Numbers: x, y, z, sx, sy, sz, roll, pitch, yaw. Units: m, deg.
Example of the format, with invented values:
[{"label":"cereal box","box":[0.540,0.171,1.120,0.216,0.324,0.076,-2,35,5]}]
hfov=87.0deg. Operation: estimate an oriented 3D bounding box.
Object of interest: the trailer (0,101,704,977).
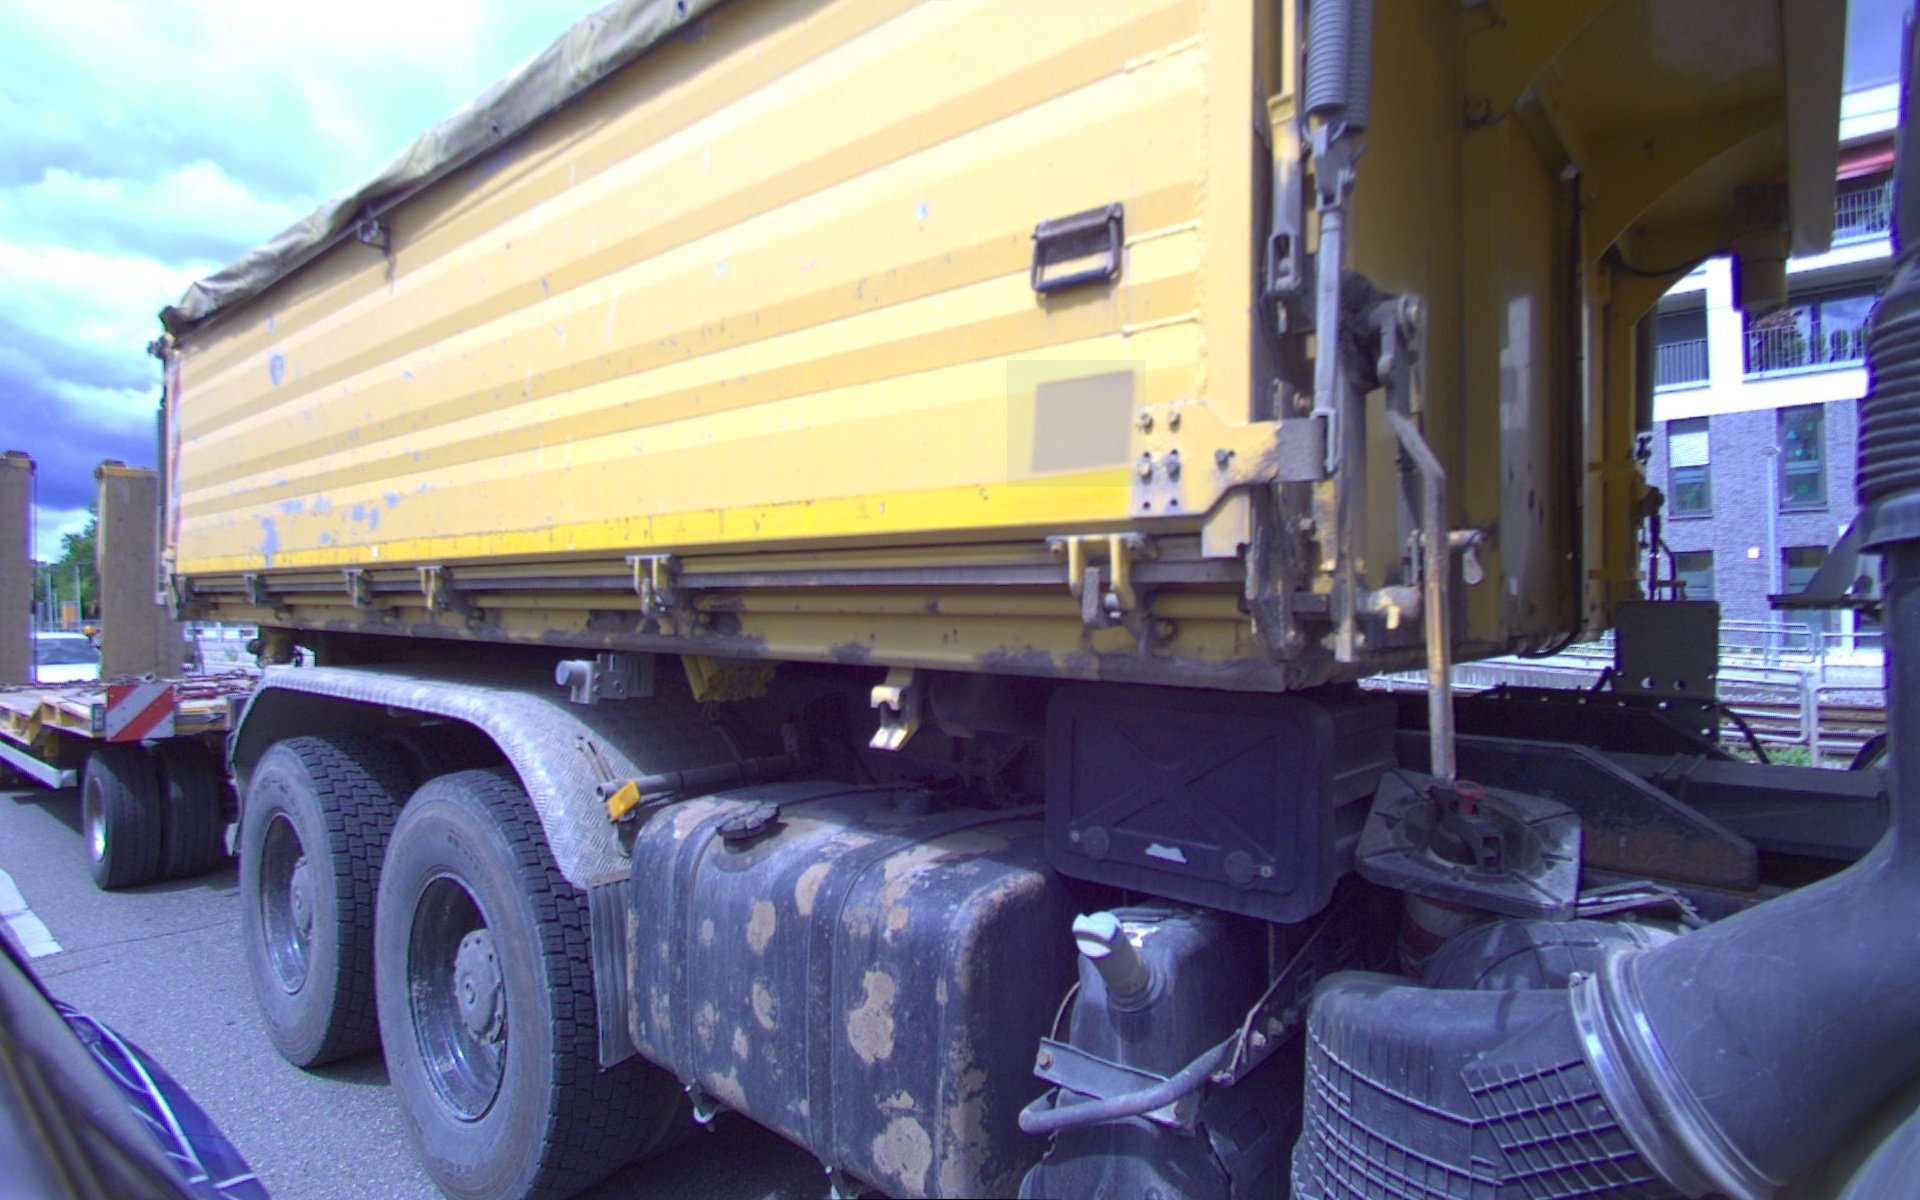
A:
[{"label":"trailer","box":[-6.844,-0.141,9.013,10.957,3.726,3.018,-2,-1,40]}]

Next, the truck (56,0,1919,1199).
[{"label":"truck","box":[0.166,-0.225,2.905,7.999,3.420,3.019,-2,-1,40]}]

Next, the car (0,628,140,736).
[{"label":"car","box":[-14.031,1.173,15.436,3.784,1.427,1.761,-2,-1,41]}]
